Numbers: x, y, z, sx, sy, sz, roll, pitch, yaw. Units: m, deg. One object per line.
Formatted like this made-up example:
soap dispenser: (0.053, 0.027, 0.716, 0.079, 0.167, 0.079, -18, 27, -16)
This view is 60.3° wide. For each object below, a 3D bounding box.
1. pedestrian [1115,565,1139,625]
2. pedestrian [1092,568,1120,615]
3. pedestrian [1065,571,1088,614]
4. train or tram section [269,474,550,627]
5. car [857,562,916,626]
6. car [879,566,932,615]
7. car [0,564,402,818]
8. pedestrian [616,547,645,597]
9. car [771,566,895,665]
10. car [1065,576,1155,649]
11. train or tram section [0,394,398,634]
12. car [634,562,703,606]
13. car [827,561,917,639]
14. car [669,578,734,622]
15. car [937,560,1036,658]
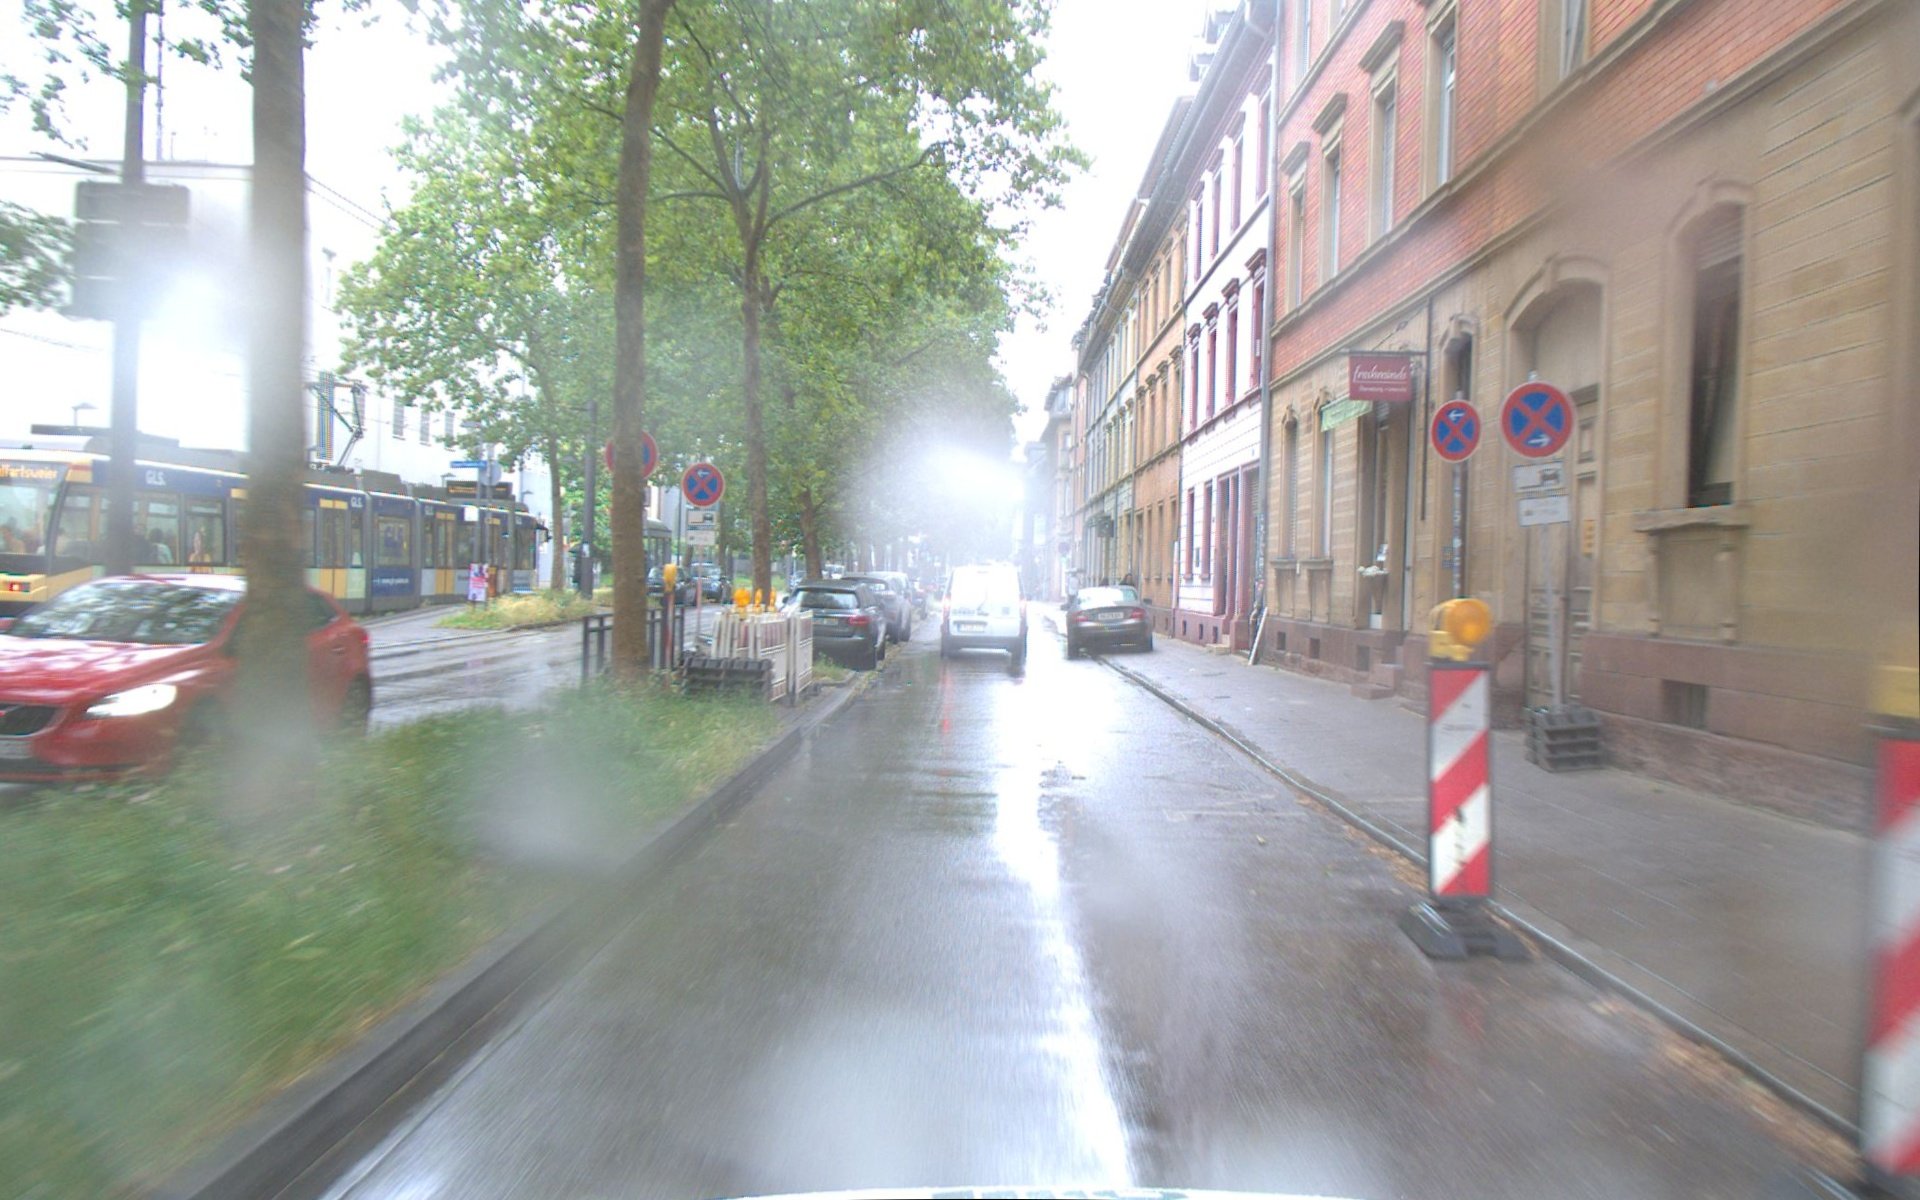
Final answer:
pedestrian: (4.827, -0.139, 47.823, 0.625, 1.714, 0.603, -1, 1, 0)
pedestrian: (4.952, -0.292, 56.176, 0.823, 1.538, 1.108, -1, 1, 1)
pedestrian: (4.744, -0.312, 67.412, 0.823, 1.746, 1.108, -2, 1, 1)
train or tram section: (-15.026, -1.114, 47.033, 3.042, 3.620, 14.673, 1, -1, 0)
car: (-2.120, -0.217, 48.365, 1.591, 1.711, 3.658, 3, 1, -2)
car: (-1.874, -0.343, 57.652, 1.615, 1.526, 4.119, 3, 1, 0)
car: (-5.557, 0.492, 11.701, 1.705, 1.422, 4.233, 2, 1, 1)
pedestrian: (-11.729, -0.992, 58.848, 0.801, 1.733, 0.872, 2, 1, -1)
car: (-2.173, 0.228, 29.438, 1.791, 1.529, 4.613, 3, 0, 0)
car: (3.235, 0.239, 36.436, 1.776, 1.445, 4.699, -2, 1, 3)
train or tram section: (-15.038, -1.263, 32.422, 3.042, 3.620, 14.576, 1, -1, 0)
car: (-10.239, -0.587, 58.312, 1.703, 1.366, 3.756, 4, 1, 0)
car: (-1.991, -0.016, 38.439, 1.663, 1.664, 4.356, 1, 1, 2)
car: (-10.348, -0.027, 66.411, 1.953, 1.641, 4.000, 2, 1, 0)
car: (0.552, 0.190, 33.990, 1.864, 1.828, 4.114, 2, 0, 1)
